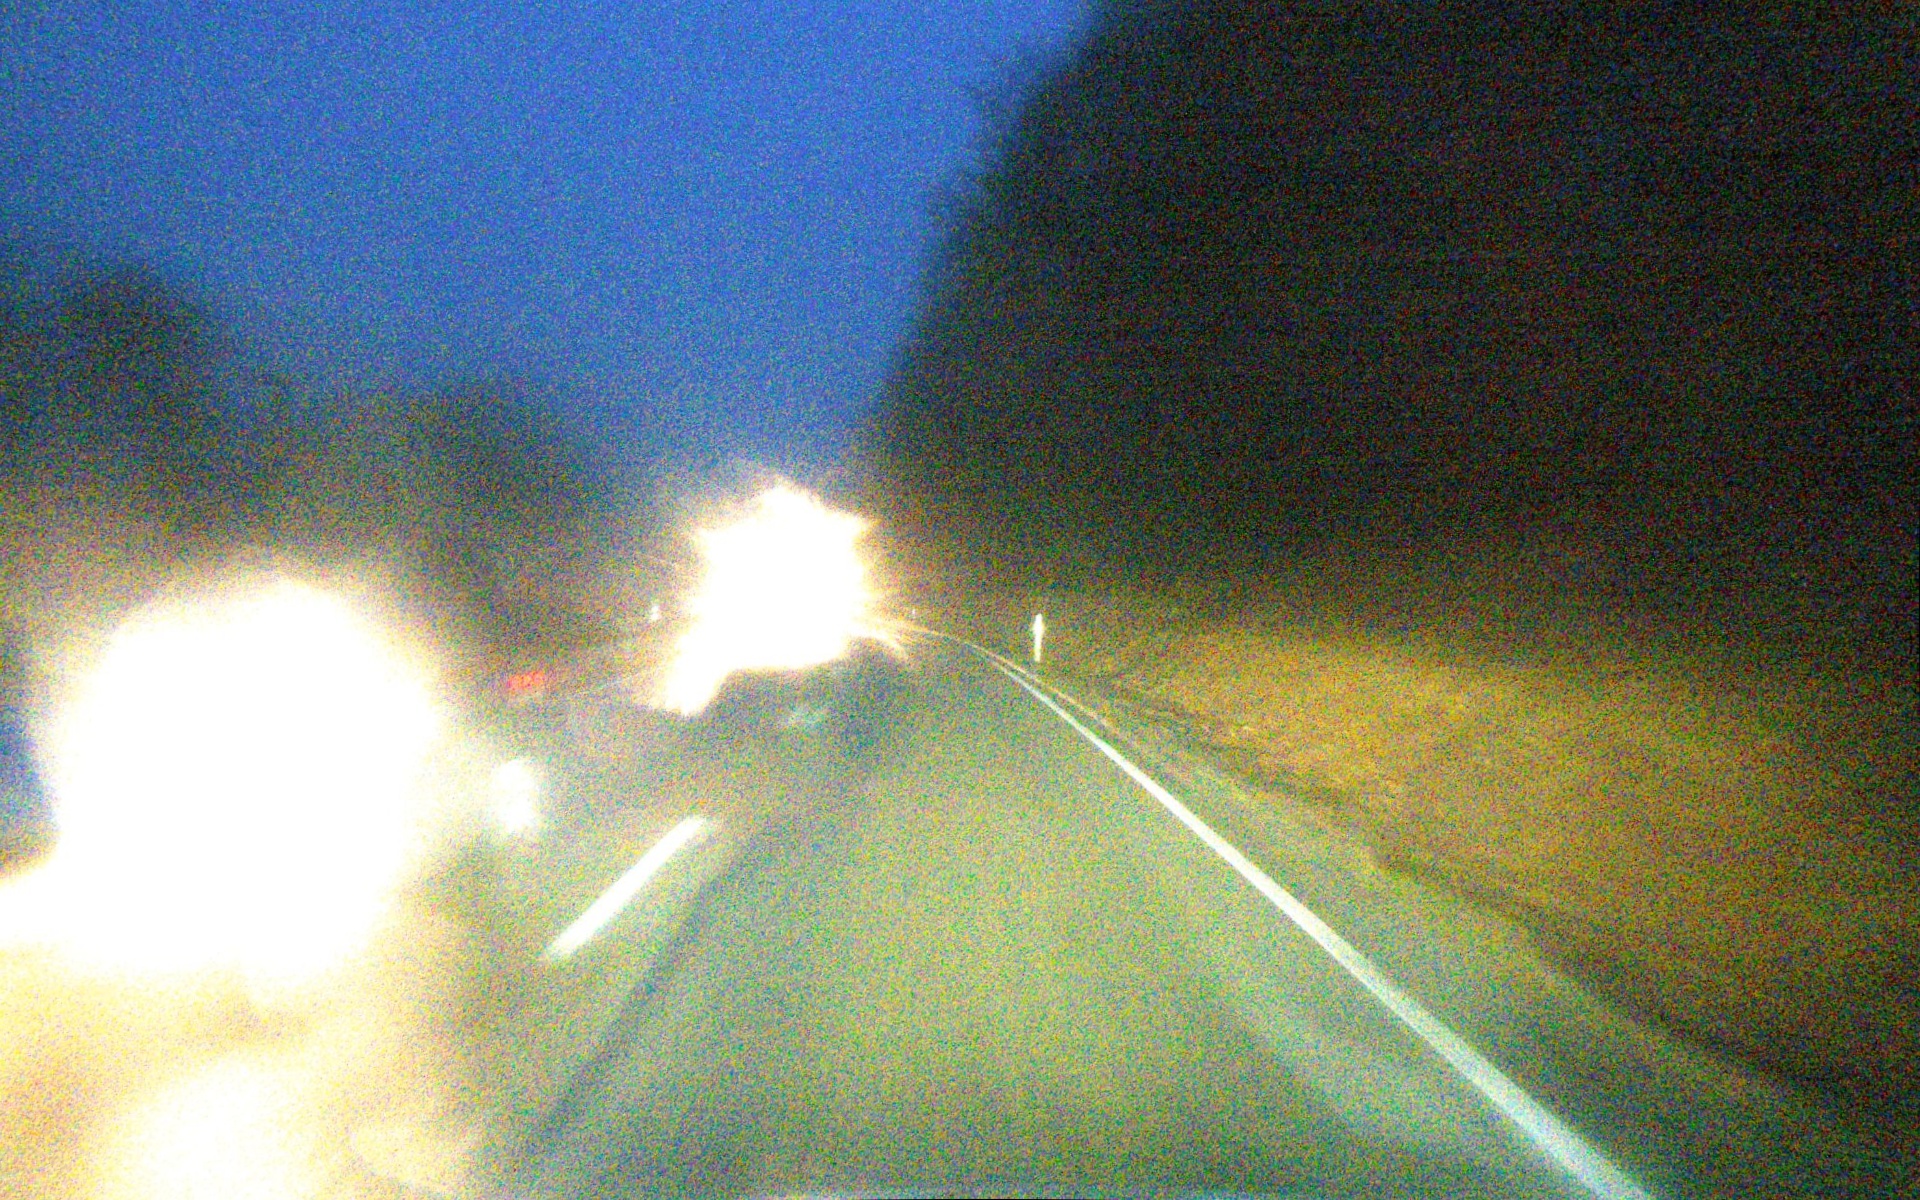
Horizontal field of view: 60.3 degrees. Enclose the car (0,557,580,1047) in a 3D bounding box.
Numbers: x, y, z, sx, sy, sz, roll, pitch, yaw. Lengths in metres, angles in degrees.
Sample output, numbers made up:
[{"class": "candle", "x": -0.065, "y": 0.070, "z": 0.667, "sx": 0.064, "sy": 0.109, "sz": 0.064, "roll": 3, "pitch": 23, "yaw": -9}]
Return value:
[{"class": "car", "x": -3.231, "y": 0.632, "z": 7.686, "sx": 1.817, "sy": 1.548, "sz": 4.680, "roll": 3, "pitch": 0, "yaw": 0}]
